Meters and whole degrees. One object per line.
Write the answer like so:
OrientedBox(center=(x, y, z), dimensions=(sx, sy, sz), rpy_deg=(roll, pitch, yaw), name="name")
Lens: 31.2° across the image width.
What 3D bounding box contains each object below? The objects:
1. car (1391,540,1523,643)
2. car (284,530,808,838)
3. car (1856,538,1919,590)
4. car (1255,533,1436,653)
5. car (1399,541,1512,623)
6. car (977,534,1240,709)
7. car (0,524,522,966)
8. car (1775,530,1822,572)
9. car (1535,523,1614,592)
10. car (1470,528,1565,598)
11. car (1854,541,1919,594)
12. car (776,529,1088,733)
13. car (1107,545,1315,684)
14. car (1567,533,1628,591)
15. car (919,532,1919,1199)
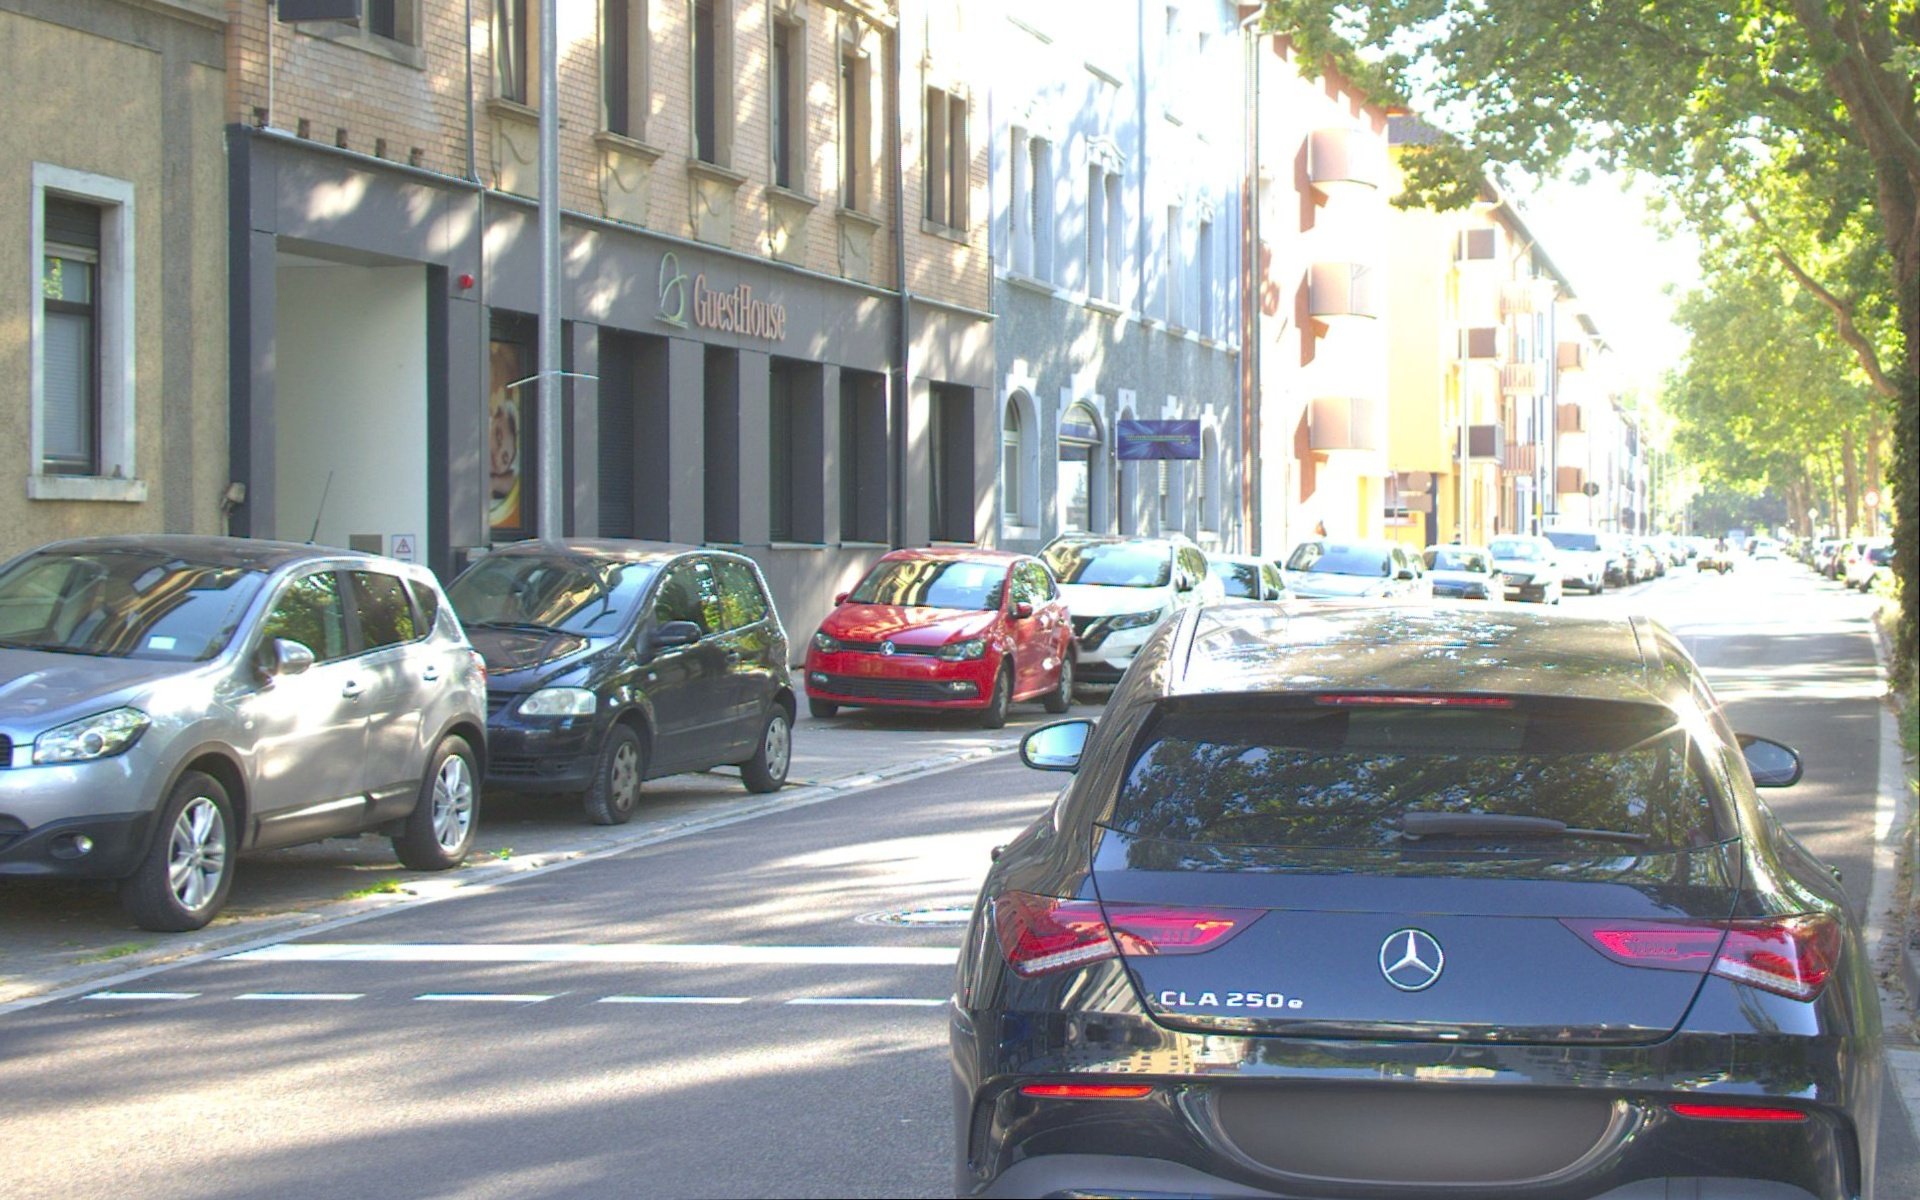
OrientedBox(center=(8.471, -0.178, 58.326), dimensions=(1.679, 1.636, 3.982), rpy_deg=(2, 2, 15), name="car")
OrientedBox(center=(-2.342, 0.413, 20.393), dimensions=(1.679, 1.599, 3.702), rpy_deg=(2, 2, 17), name="car")
OrientedBox(center=(28.866, -1.113, 107.036), dimensions=(1.811, 1.533, 4.580), rpy_deg=(-3, 0, 14), name="car")
OrientedBox(center=(5.725, -0.145, 50.593), dimensions=(1.909, 1.636, 4.574), rpy_deg=(2, 2, 15), name="car")
OrientedBox(center=(9.544, -0.364, 66.034), dimensions=(1.679, 1.481, 3.598), rpy_deg=(2, 2, 15), name="car")
OrientedBox(center=(1.542, 0.159, 34.147), dimensions=(1.679, 1.579, 4.197), rpy_deg=(2, 2, 15), name="car")
OrientedBox(center=(-3.632, 0.514, 15.516), dimensions=(1.783, 1.667, 4.153), rpy_deg=(2, 2, 15), name="car")
OrientedBox(center=(41.893, -2.442, 171.745), dimensions=(1.994, 2.007, 3.998), rpy_deg=(1, 0, 10), name="car")
OrientedBox(center=(17.636, -1.239, 98.469), dimensions=(1.735, 1.900, 5.205), rpy_deg=(1, 1, 15), name="car")
OrientedBox(center=(12.813, -0.870, 78.836), dimensions=(1.679, 1.518, 4.018), rpy_deg=(2, 2, 15), name="car")
OrientedBox(center=(27.018, -0.949, 100.237), dimensions=(1.636, 1.463, 4.019), rpy_deg=(-1, 0, 12), name="car")
OrientedBox(center=(-0.167, 0.211, 29.557), dimensions=(1.679, 1.586, 3.754), rpy_deg=(2, 2, 15), name="car")
OrientedBox(center=(3.001, 0.129, 40.428), dimensions=(1.679, 1.491, 3.869), rpy_deg=(2, 2, 15), name="car")
OrientedBox(center=(20.661, -1.253, 111.376), dimensions=(1.746, 1.781, 4.547), rpy_deg=(2, 2, 12), name="car")
OrientedBox(center=(0.929, 0.598, 7.860), dimensions=(1.744, 1.438, 3.969), rpy_deg=(2, 1, 3), name="car")
